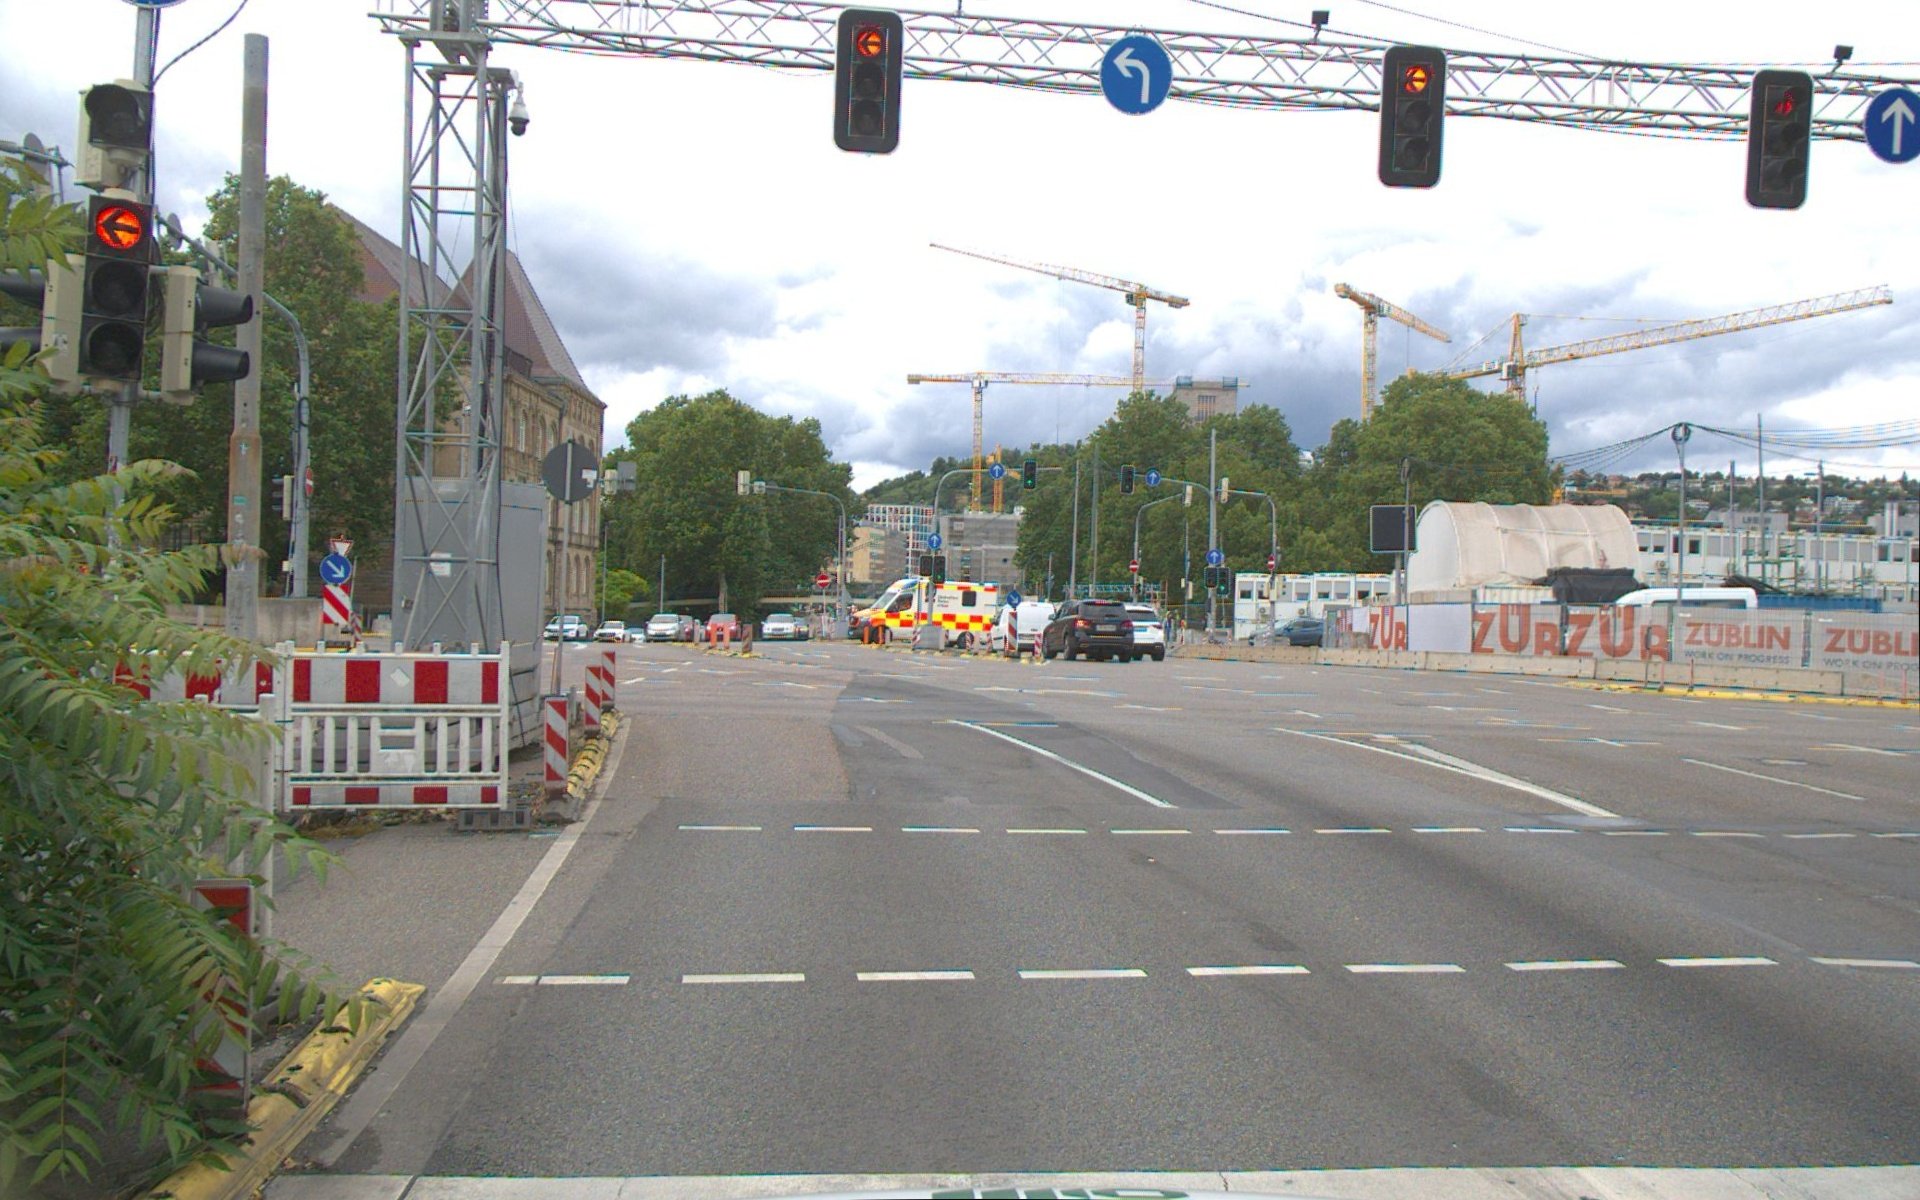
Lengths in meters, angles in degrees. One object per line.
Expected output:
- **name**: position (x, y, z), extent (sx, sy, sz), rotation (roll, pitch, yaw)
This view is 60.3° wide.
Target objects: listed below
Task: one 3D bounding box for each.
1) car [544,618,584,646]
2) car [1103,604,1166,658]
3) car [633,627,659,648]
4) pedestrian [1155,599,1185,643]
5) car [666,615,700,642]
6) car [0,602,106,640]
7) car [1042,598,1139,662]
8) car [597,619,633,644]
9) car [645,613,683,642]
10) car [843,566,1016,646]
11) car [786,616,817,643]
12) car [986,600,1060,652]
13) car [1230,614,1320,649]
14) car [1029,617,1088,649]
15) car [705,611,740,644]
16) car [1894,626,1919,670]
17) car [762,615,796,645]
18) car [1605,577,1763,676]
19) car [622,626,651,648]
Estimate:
- **car**: position (-21.370, 1.723, 89.344), extent (1.644, 1.422, 3.677), rotation (1, 0, -7)
- **car**: position (5.751, 1.001, 54.741), extent (1.642, 1.732, 3.374), rotation (1, 0, -1)
- **car**: position (-23.491, 2.795, 123.982), extent (1.644, 1.422, 3.677), rotation (1, 0, -7)
- **pedestrian**: position (10.032, 0.998, 79.051), extent (1.075, 2.049, 1.181), rotation (1, -1, -12)
- **car**: position (-15.301, 1.549, 91.538), extent (1.644, 1.422, 3.677), rotation (1, 0, -7)
- **car**: position (-34.997, 0.813, 63.603), extent (3.639, 1.423, 1.661), rotation (1, 0, -34)
- **car**: position (3.772, 0.842, 48.529), extent (1.799, 1.776, 4.245), rotation (1, 0, -10)
- **car**: position (-21.579, 1.955, 103.528), extent (1.642, 1.422, 3.681), rotation (2, 0, -3)
- **car**: position (-15.261, 1.422, 85.379), extent (1.644, 1.422, 3.677), rotation (1, 0, -7)
- **car**: position (-1.233, 0.264, 67.401), extent (6.636, 3.105, 2.359), rotation (1, 0, -19)
- **car**: position (-8.823, 1.637, 91.845), extent (1.644, 1.422, 3.677), rotation (1, 0, -7)
- **car**: position (2.075, 0.852, 55.550), extent (1.783, 1.653, 3.993), rotation (1, 0, -8)
- **car**: position (15.236, 1.518, 79.993), extent (3.927, 1.653, 1.812), rotation (1, 0, -20)
- **car**: position (4.506, 1.509, 76.038), extent (1.650, 1.422, 3.070), rotation (1, 0, -19)
- **car**: position (-12.129, 1.380, 84.518), extent (1.644, 1.608, 3.677), rotation (1, 0, -7)
- **car**: position (35.292, 1.737, 60.125), extent (1.641, 1.554, 4.001), rotation (1, 0, 20)
- **car**: position (-9.305, 1.523, 84.928), extent (1.644, 1.422, 3.677), rotation (1, 0, -7)
- **car**: position (20.817, 0.747, 47.681), extent (3.902, 2.708, 1.683), rotation (1, 0, 13)
- **car**: position (-22.366, 2.524, 114.501), extent (1.644, 1.422, 3.677), rotation (1, 0, -7)
